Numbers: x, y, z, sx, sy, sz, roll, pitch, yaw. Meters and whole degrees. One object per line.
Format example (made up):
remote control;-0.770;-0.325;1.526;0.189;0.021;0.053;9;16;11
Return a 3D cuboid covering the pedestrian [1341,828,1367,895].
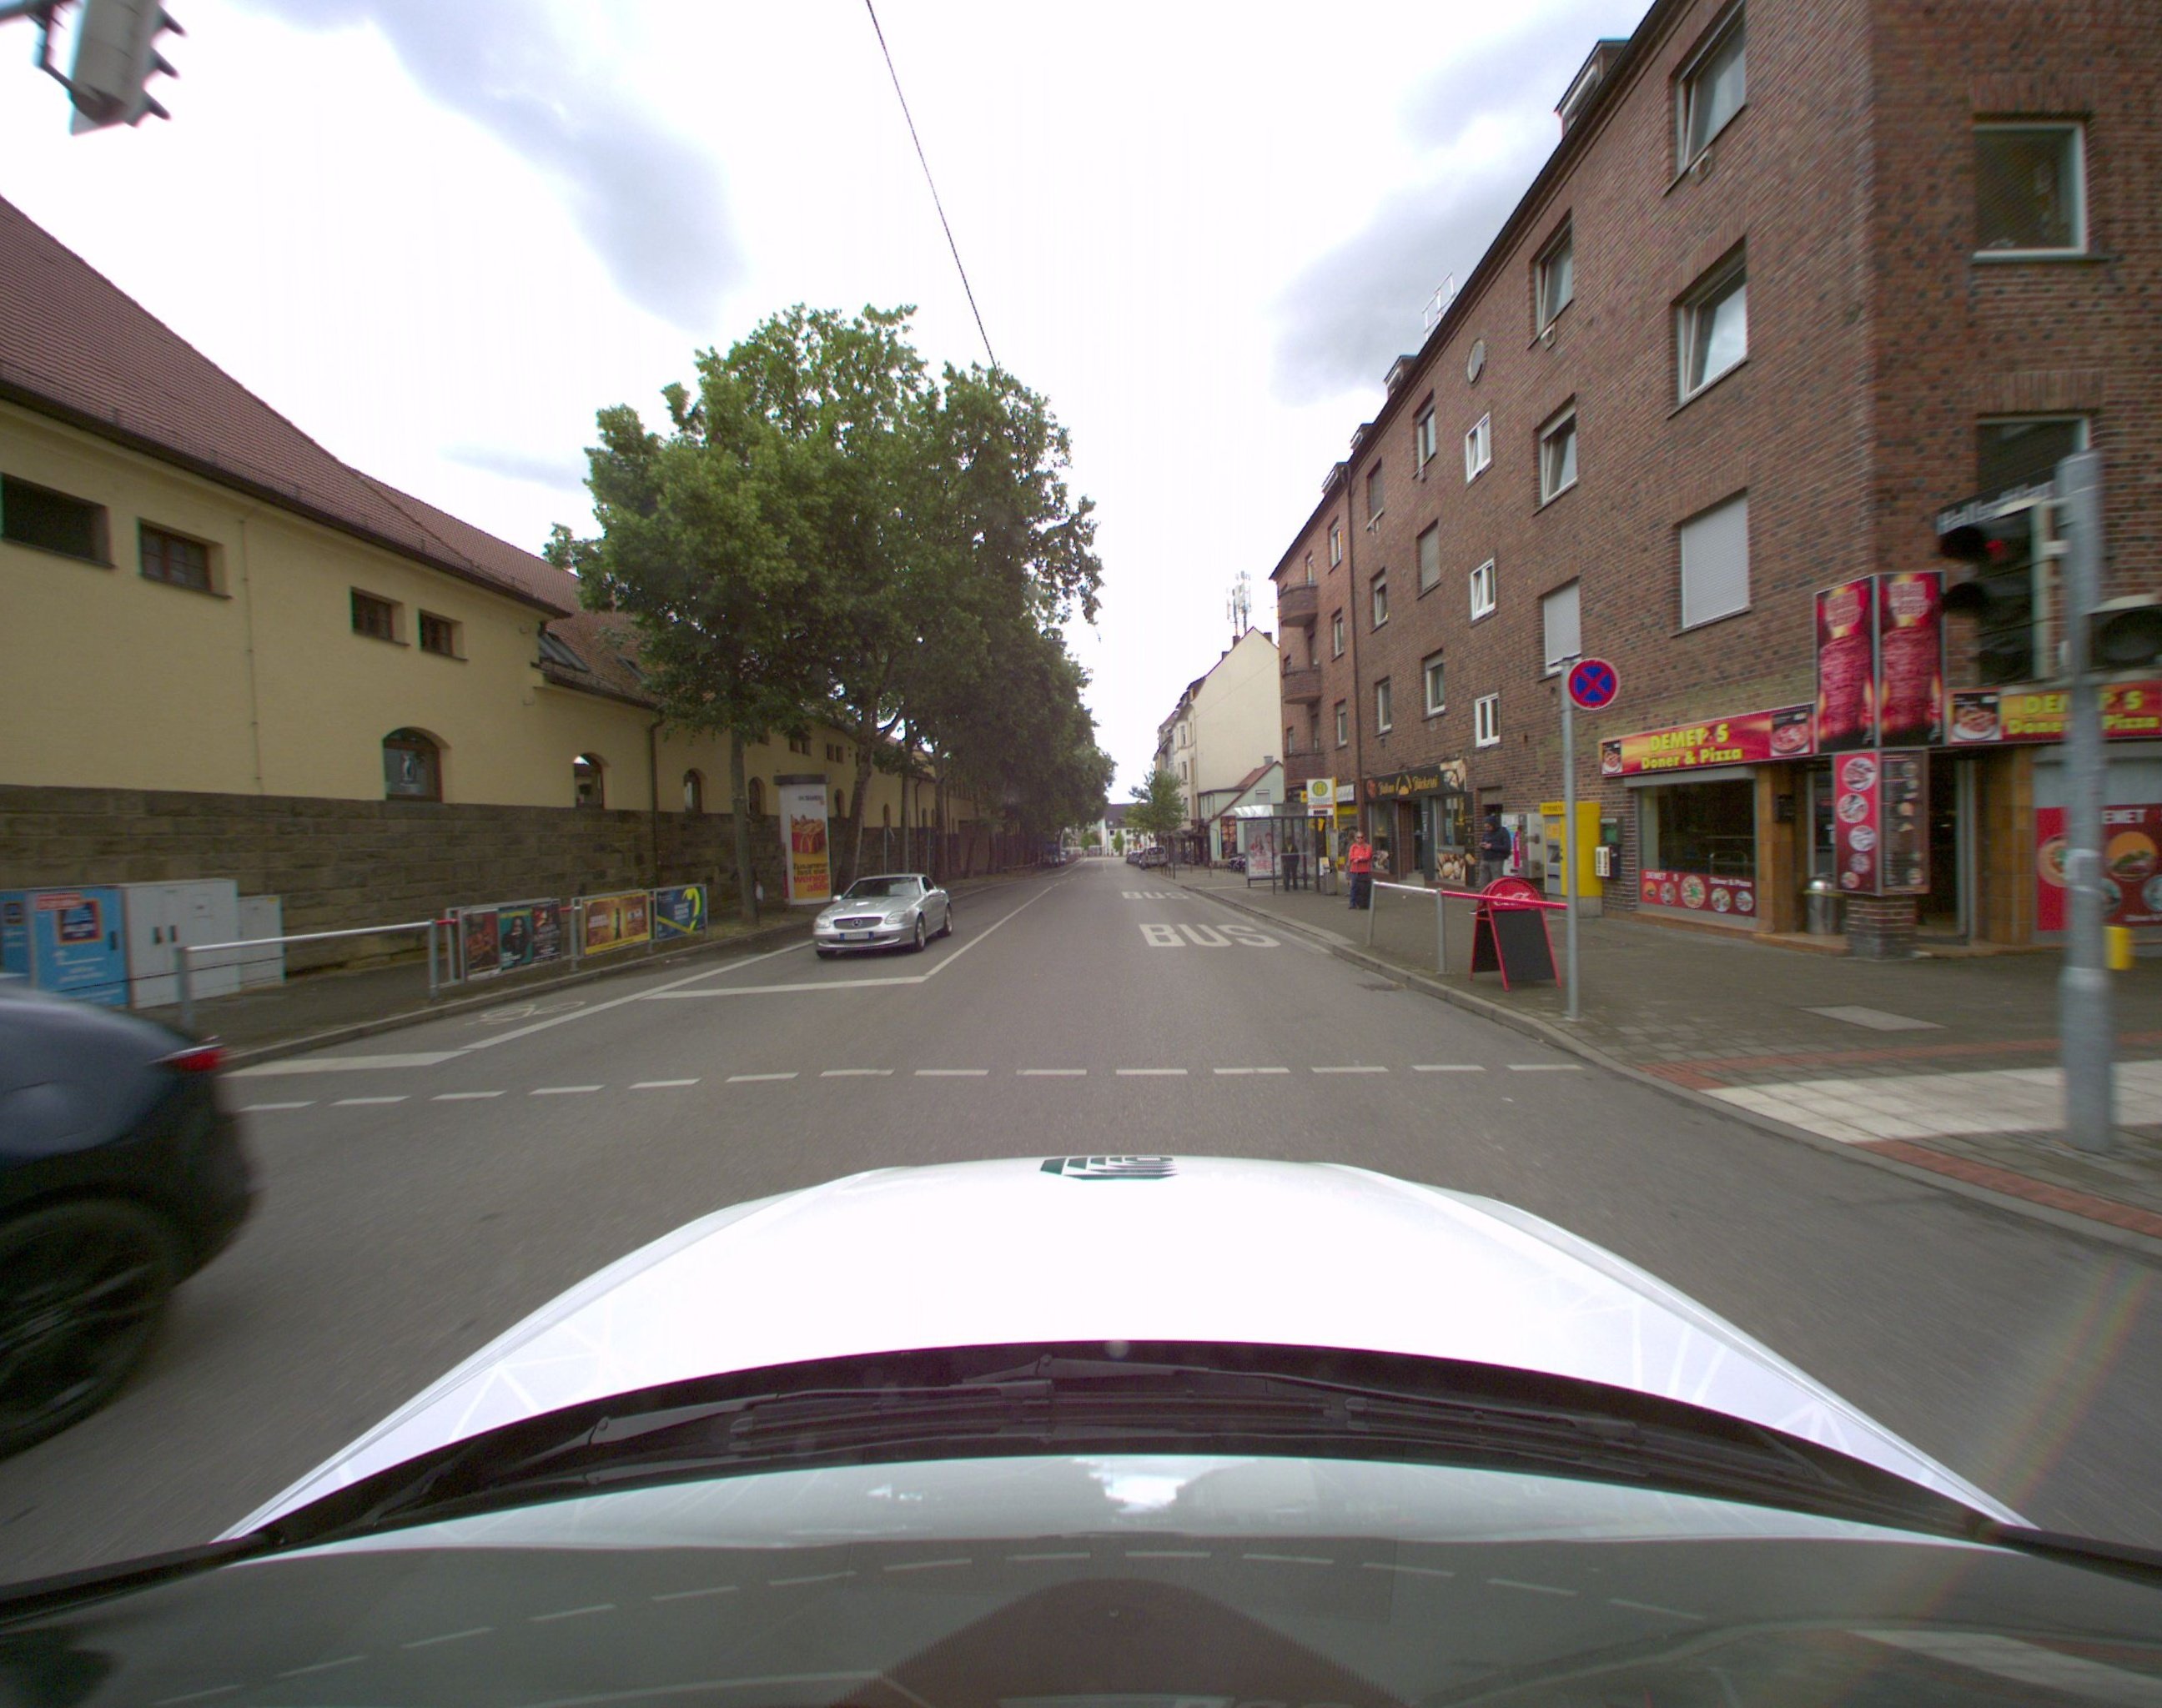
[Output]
pedestrian;7.359;0.193;21.974;0.477;1.765;0.458;-2;0;1

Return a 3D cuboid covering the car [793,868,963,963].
car;-3.377;0.978;14.404;1.678;1.275;4.098;-5;-1;3

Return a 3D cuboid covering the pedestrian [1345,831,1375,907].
pedestrian;6.157;0.334;17.960;0.560;1.637;0.684;-2;0;21

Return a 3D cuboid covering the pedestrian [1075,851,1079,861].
pedestrian;-0.837;0.371;170.007;0.631;2.013;0.785;-2;0;3

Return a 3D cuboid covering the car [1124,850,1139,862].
car;6.902;0.211;111.219;1.664;1.547;3.754;-2;0;-1

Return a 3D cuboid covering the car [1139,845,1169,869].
car;6.240;0.214;70.303;1.988;1.935;4.916;-2;0;-1

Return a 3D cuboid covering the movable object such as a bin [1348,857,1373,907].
movable object such as a bin;6.058;0.607;17.644;0.449;1.056;0.412;-2;0;21

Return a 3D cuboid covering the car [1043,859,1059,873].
car;-3.535;1.372;97.239;1.829;1.578;3.754;-2;0;-1

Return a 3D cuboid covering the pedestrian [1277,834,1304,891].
pedestrian;6.523;0.261;25.395;0.666;1.727;0.765;-2;0;6

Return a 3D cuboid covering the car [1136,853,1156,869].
car;6.627;0.670;83.691;1.664;1.547;3.754;-2;0;-1

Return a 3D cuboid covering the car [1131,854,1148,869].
car;6.694;0.837;93.548;1.664;1.547;3.754;-2;0;-1

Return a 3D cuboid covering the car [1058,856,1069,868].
car;-2.520;1.097;118.187;1.529;1.639;3.716;-2;0;-1

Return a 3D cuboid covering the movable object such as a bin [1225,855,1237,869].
movable object such as a bin;11.042;0.602;59.955;0.695;1.041;0.645;-2;0;3

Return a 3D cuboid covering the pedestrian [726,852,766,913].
pedestrian;-10.193;0.856;24.787;0.774;1.794;0.875;-2;0;1

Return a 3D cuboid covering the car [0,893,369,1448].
car;-3.859;0.941;1.131;1.694;1.414;4.199;-5;0;6

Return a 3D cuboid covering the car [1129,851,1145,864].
car;6.870;0.403;100.158;1.664;1.547;3.754;-2;0;-1

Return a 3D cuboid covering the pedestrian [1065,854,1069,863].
pedestrian;-3.031;0.920;176.444;0.631;1.995;0.785;-2;0;3

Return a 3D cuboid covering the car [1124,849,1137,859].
car;7.478;-0.004;123.953;1.664;1.547;3.754;-2;0;-1

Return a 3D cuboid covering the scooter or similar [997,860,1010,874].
scooter or similar;-6.450;1.076;67.443;1.028;1.184;0.490;-2;0;-8

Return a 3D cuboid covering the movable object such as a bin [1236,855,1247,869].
movable object such as a bin;11.806;0.576;60.008;0.695;1.041;0.645;-2;0;3

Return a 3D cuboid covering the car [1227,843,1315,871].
car;11.528;0.194;49.528;4.857;1.493;1.866;-2;0;26

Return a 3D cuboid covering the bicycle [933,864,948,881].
bicycle;-9.692;1.279;56.236;0.594;1.091;2.196;0;0;3

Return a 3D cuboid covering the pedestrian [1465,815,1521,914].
pedestrian;7.554;0.180;14.966;0.644;1.750;0.779;-2;0;6

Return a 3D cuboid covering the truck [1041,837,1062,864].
truck;-3.793;-0.428;106.591;2.223;3.346;7.450;-2;0;1

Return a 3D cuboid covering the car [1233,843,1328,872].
car;11.462;0.215;46.823;4.856;1.540;2.013;-2;0;30

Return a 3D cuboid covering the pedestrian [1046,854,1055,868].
pedestrian;-3.239;0.765;86.902;0.678;1.536;0.604;-2;0;-37

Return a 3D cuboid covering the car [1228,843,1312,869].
car;12.035;0.122;51.954;4.856;1.469;1.941;-2;0;28
